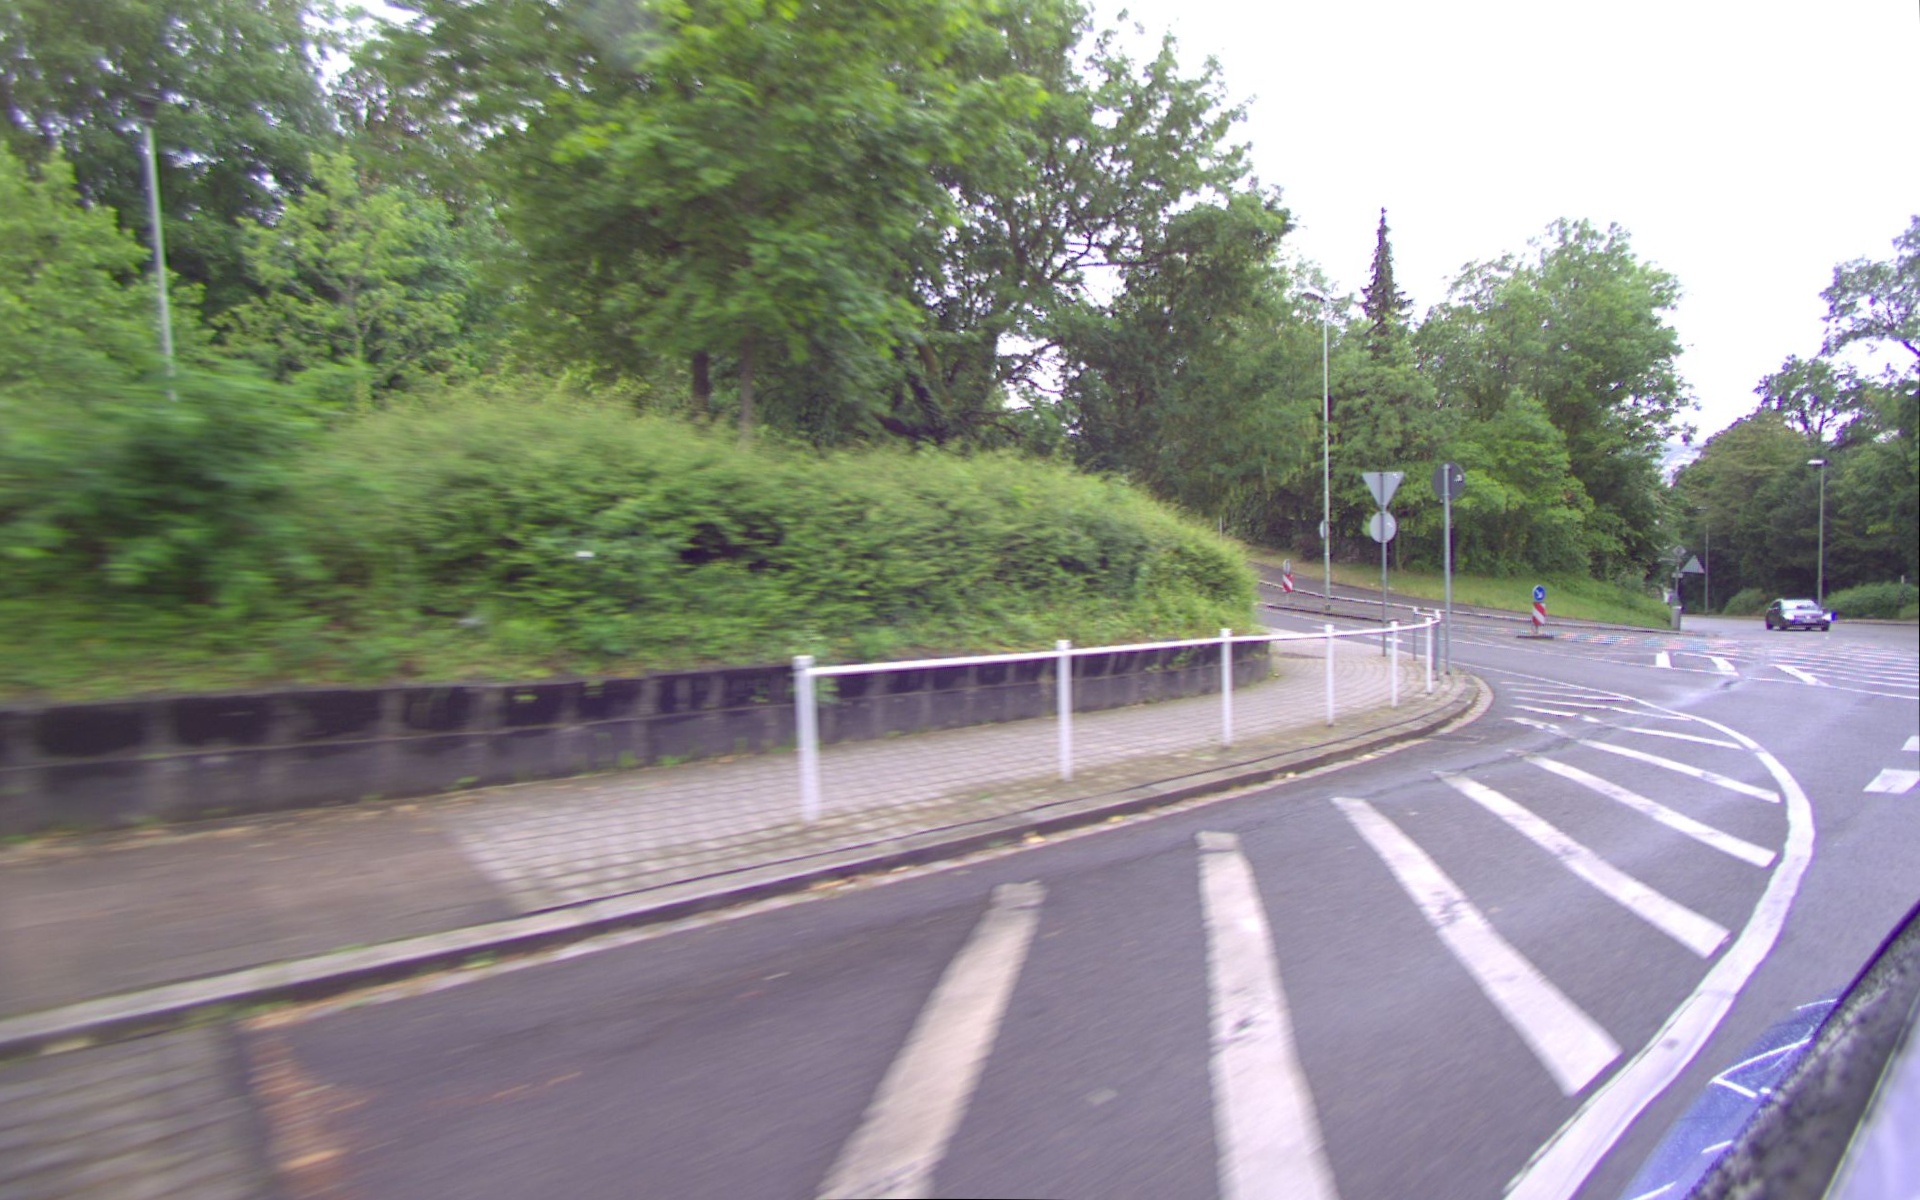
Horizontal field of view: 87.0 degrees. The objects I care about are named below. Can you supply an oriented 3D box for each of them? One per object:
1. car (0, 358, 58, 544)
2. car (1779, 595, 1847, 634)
[{"bbox_3d":[-8.287,-1.112,7.147,2.830,1.325,1.307,-1,1,-44],"label":"car"},{"bbox_3d":[40.036,0.628,47.573,2.023,1.722,3.951,1,1,34],"label":"car"}]
